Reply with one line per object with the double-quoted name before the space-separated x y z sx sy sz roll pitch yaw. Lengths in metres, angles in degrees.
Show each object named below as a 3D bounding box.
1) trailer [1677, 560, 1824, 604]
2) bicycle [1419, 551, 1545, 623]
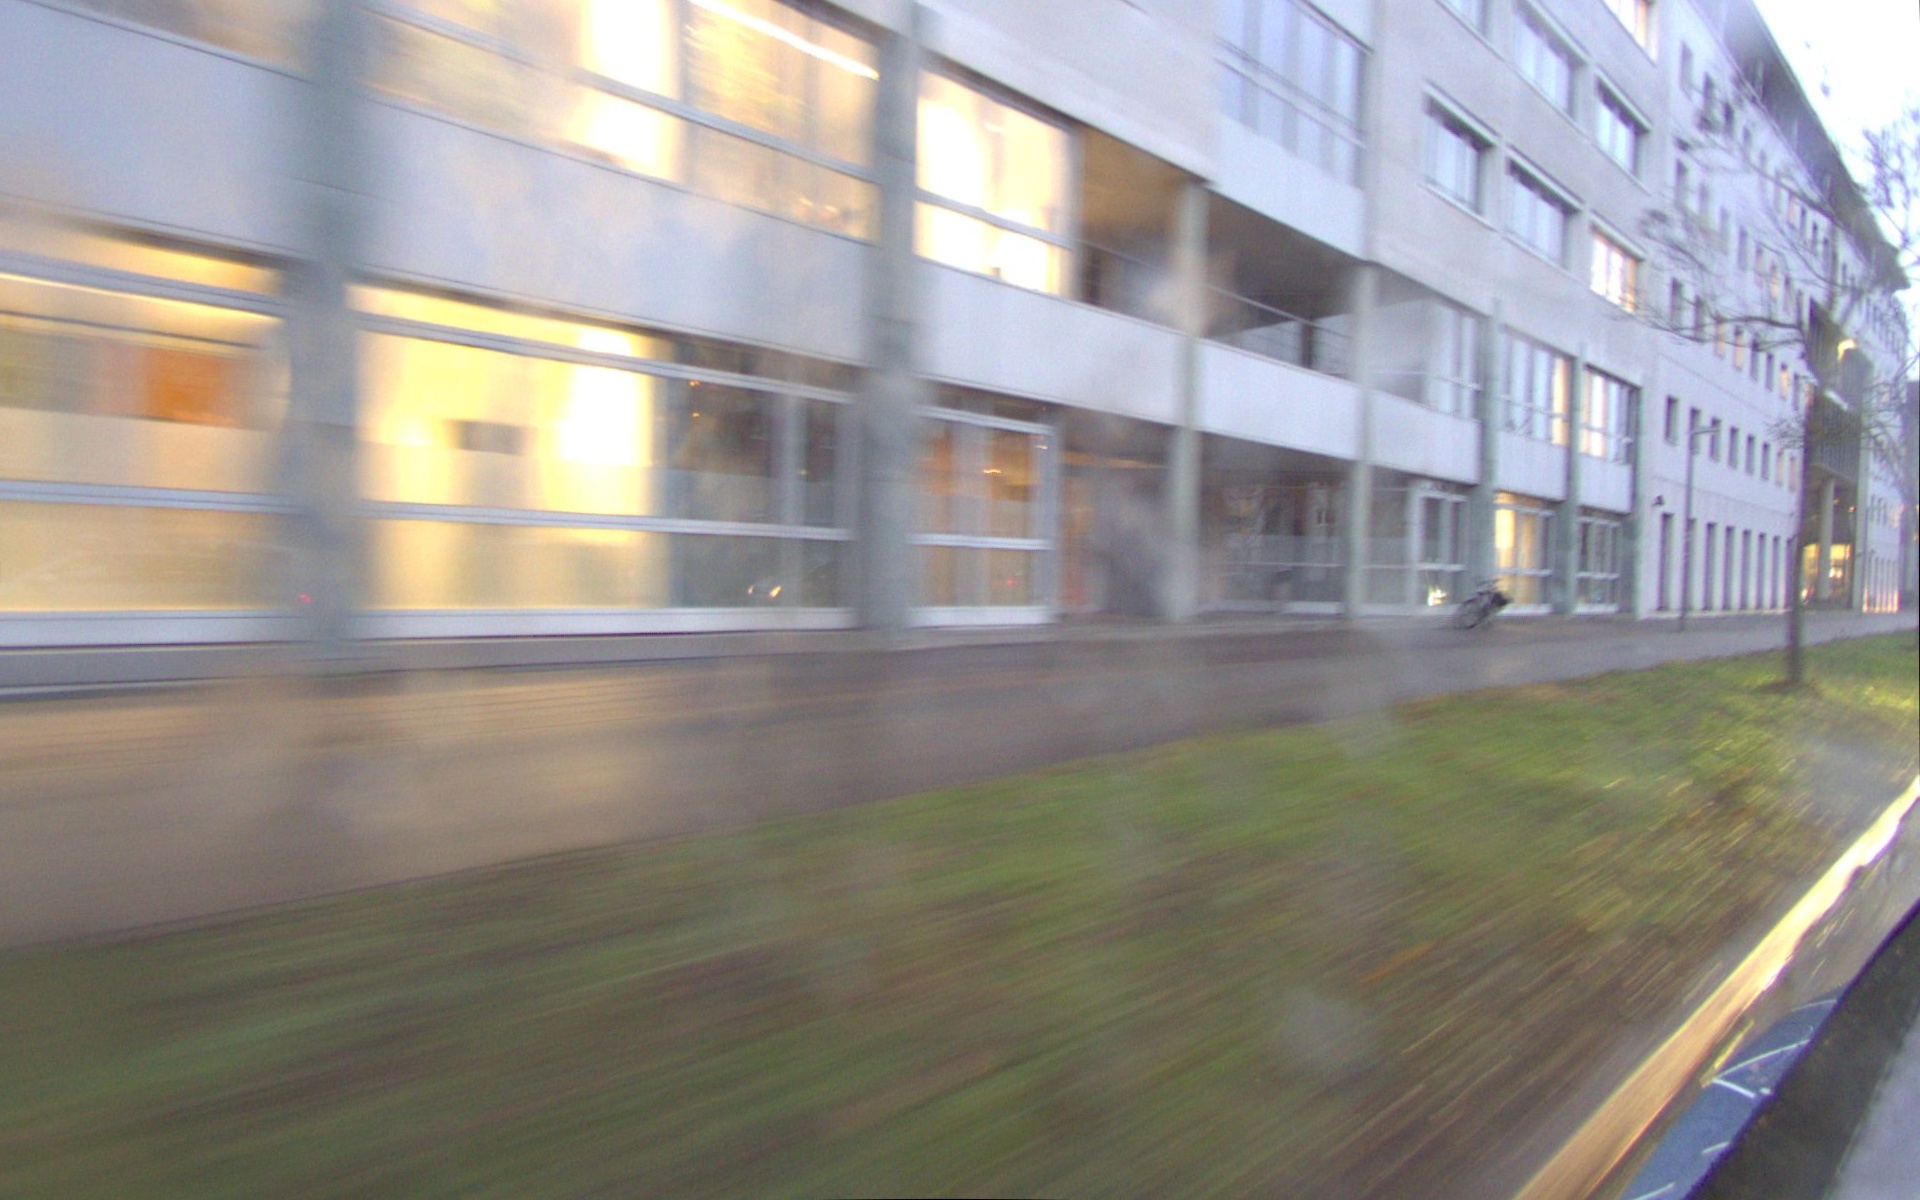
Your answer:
"trailer" 37.537 -0.900 48.176 2.089 1.935 5.085 2 1 -35
"bicycle" 10.374 -0.252 20.102 2.407 1.288 0.827 2 5 -25
